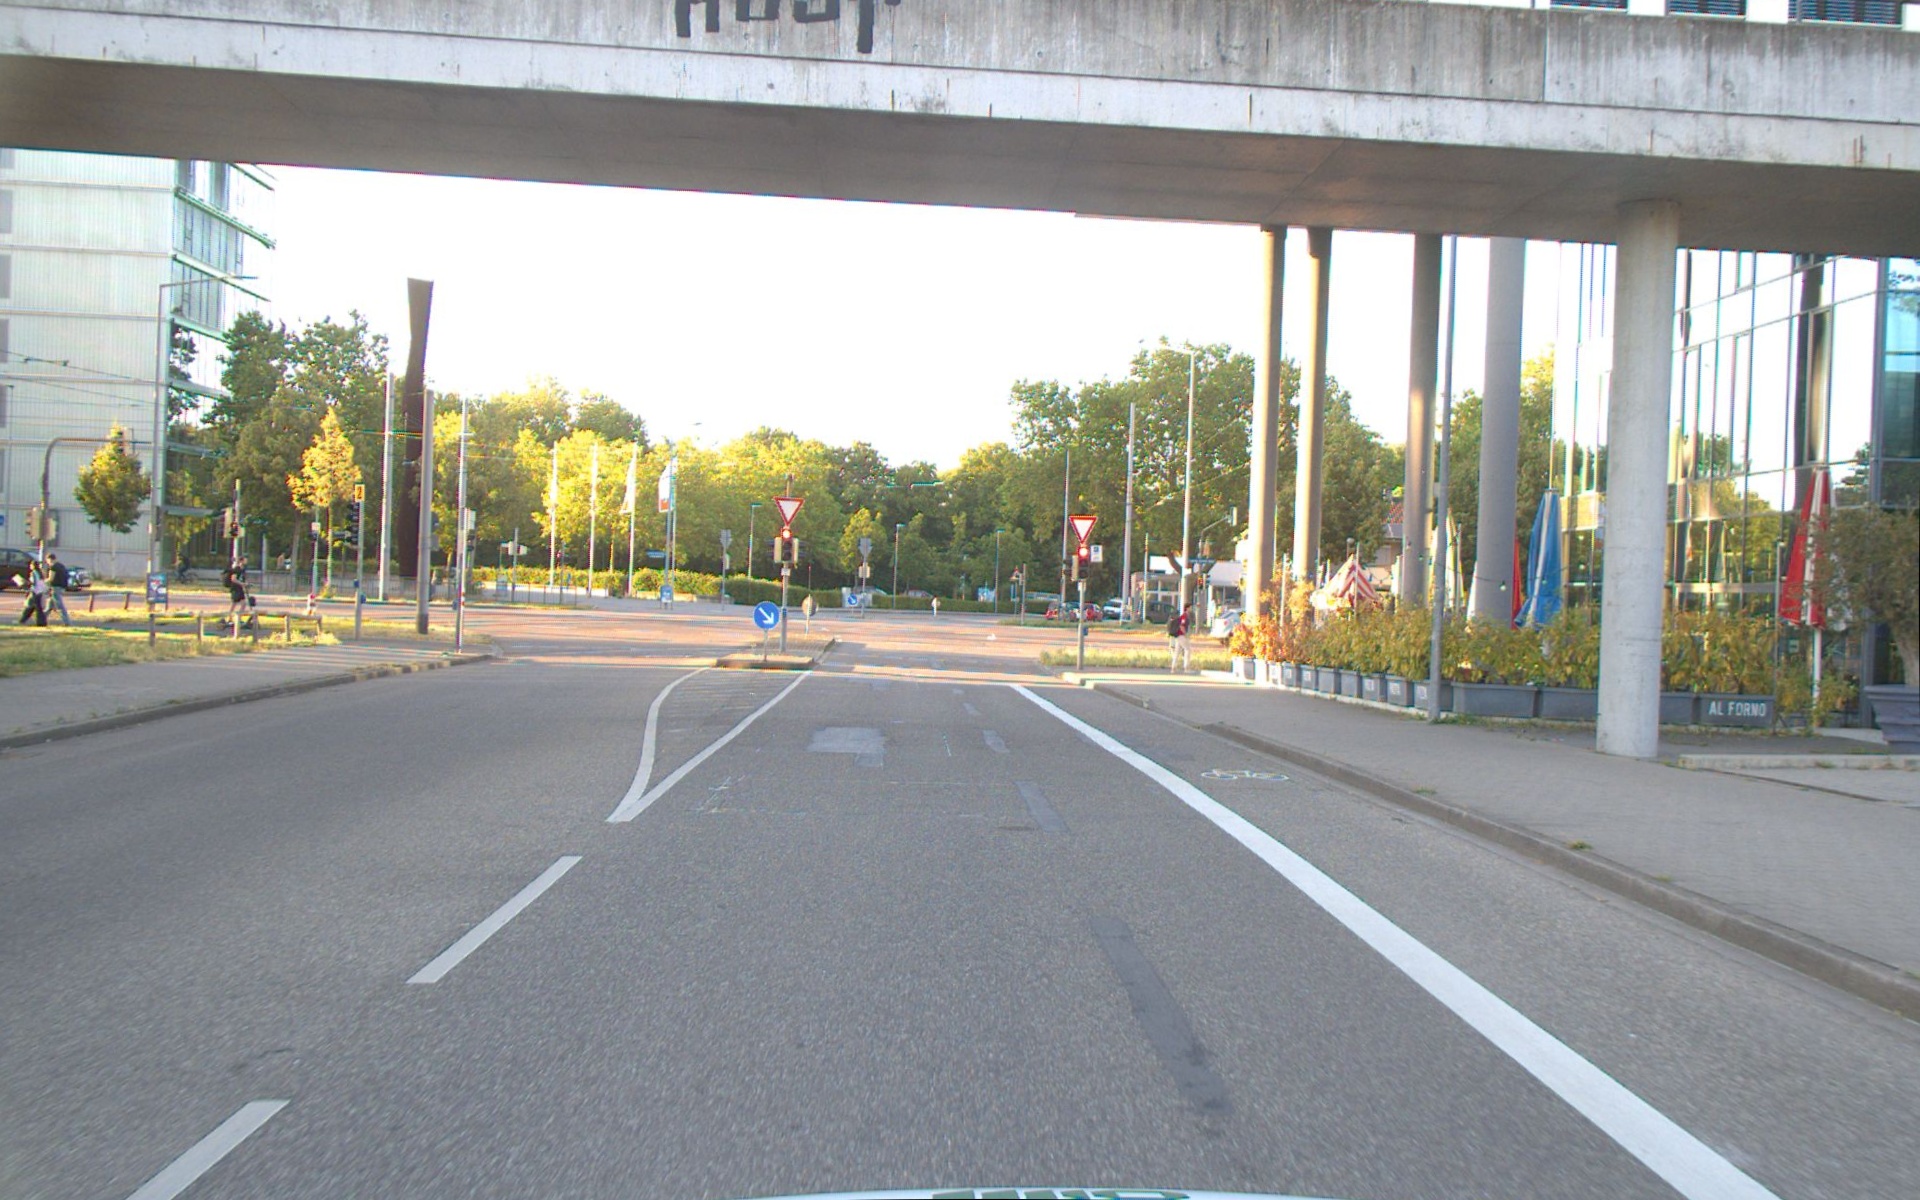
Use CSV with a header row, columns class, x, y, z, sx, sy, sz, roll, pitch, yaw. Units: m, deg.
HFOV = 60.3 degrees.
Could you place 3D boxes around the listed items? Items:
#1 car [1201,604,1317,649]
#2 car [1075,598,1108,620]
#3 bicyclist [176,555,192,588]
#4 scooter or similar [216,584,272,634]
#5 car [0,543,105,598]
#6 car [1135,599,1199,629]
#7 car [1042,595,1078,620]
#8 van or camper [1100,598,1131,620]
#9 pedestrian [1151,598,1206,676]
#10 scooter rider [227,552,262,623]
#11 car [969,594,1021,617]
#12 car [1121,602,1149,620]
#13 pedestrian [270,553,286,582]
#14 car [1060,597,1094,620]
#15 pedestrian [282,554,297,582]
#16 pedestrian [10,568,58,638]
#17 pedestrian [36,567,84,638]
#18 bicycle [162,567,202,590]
class,x,y,z,sx,sy,sz,roll,pitch,yaw
car,11.112,0.971,61.608,3.944,1.444,1.602,2,1,-4
car,10.502,0.695,131.799,1.467,1.634,3.401,3,1,25
bicyclist,-41.954,-1.564,89.436,0.748,1.753,0.548,2,1,-27
scooter or similar,-18.611,0.229,43.003,1.190,1.221,0.503,2,1,-6
car,-34.202,-1.112,60.846,4.378,1.848,1.944,2,1,-3
car,14.736,0.983,117.882,4.373,1.848,1.946,2,1,4
car,7.547,0.560,124.517,1.467,1.791,3.401,3,1,25
van or camper,14.976,0.811,159.558,1.594,2.016,3.801,3,1,28
pedestrian,5.438,0.914,41.141,1.036,1.865,0.892,2,1,-15
scooter rider,-18.608,-0.333,43.028,0.692,1.813,0.442,2,1,-5
car,3.224,0.469,151.230,4.586,1.901,2.014,2,1,5
car,15.189,0.955,143.644,1.467,1.503,3.082,3,1,25
pedestrian,-49.857,-2.373,120.914,0.681,2.048,0.699,2,1,18
car,9.054,0.640,128.131,1.467,1.634,3.401,3,1,25
pedestrian,-49.444,-2.369,121.949,0.681,2.048,0.699,2,1,18
pedestrian,-22.283,0.068,39.805,0.671,1.652,0.712,2,1,16
pedestrian,-22.084,0.046,40.598,0.685,1.693,0.712,2,1,16
bicycle,-42.058,-1.154,89.402,1.939,1.148,0.555,1,1,-27
